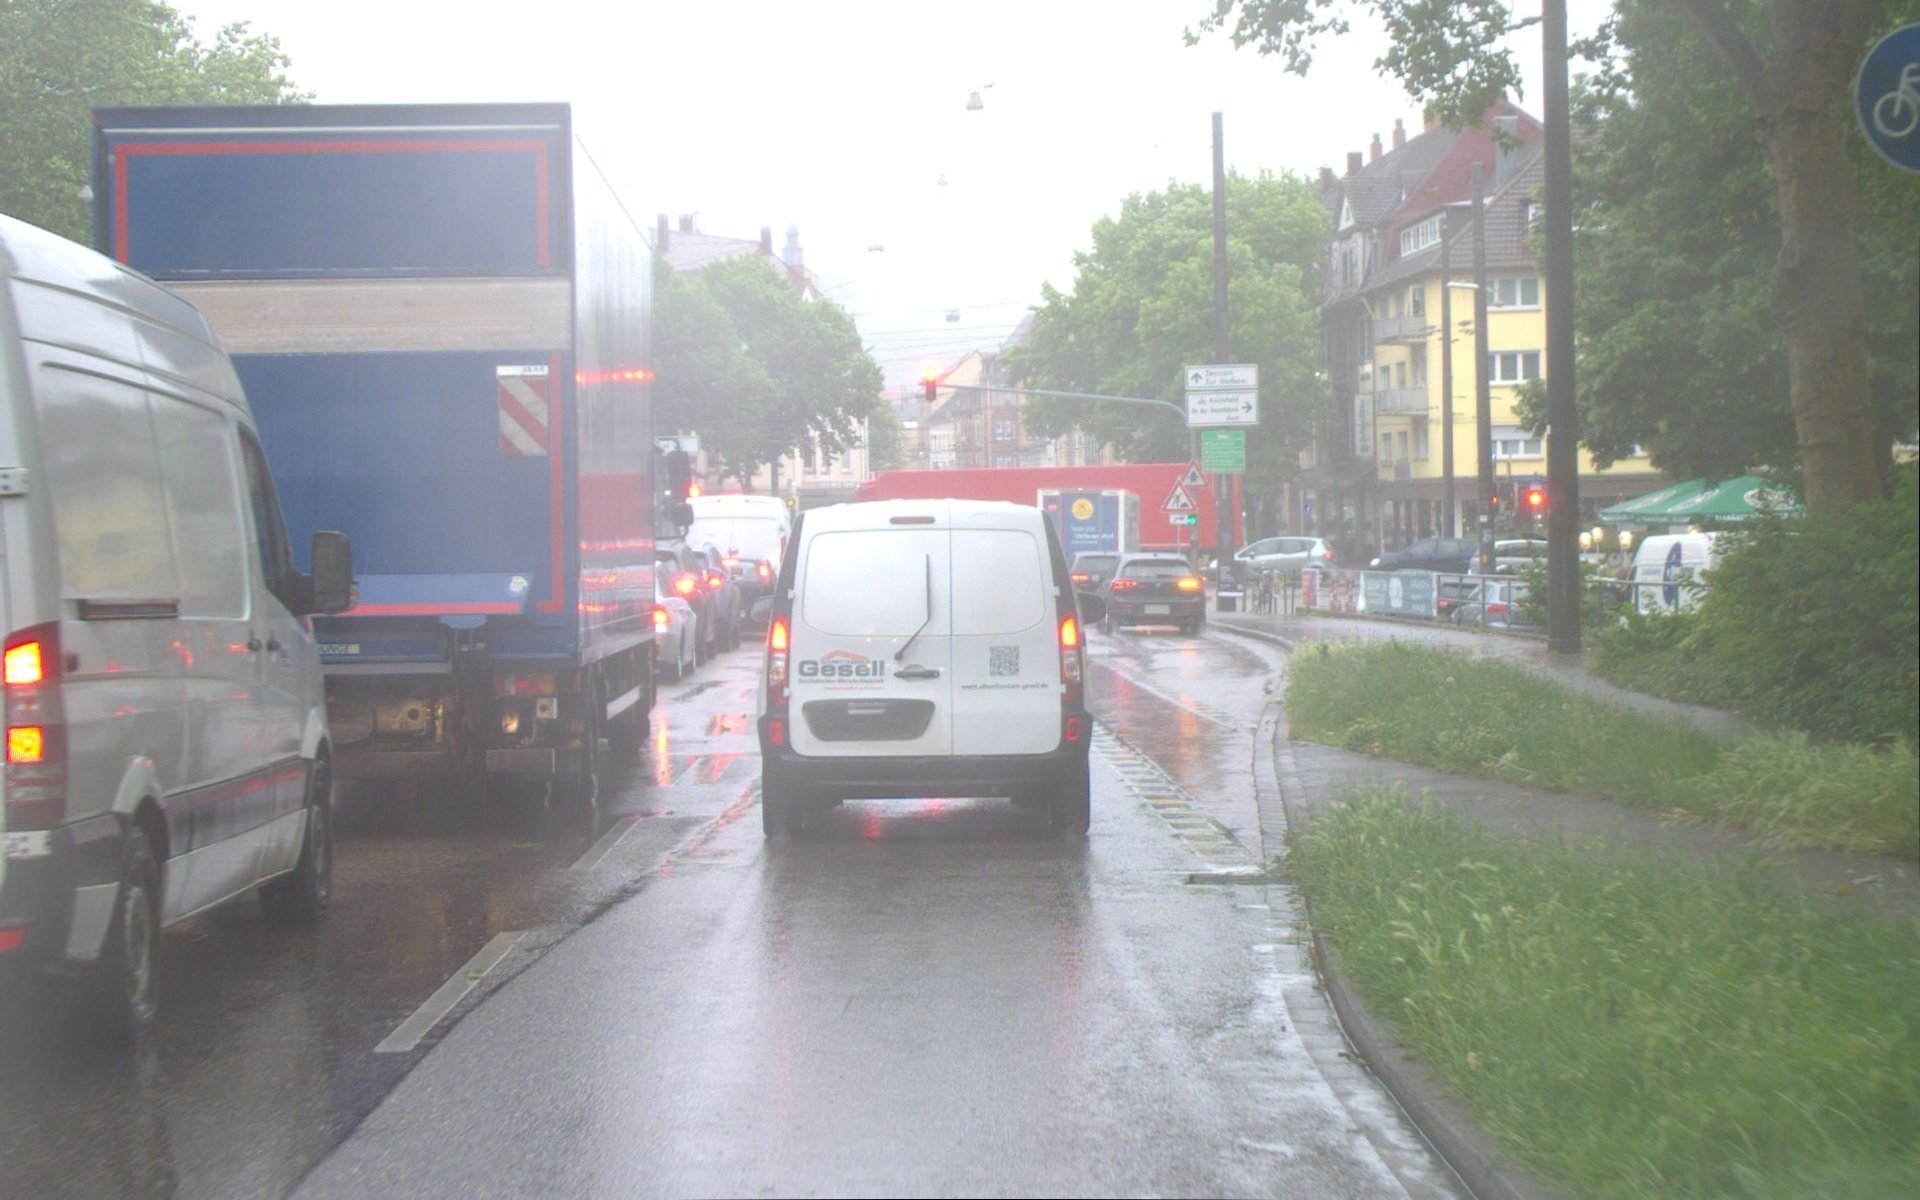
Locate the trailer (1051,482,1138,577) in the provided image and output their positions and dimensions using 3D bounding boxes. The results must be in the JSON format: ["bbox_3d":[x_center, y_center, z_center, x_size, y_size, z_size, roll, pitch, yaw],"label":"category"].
[{"bbox_3d":[3.438,-1.759,87.246,1.994,2.309,4.667,0,0,5],"label":"trailer"}]

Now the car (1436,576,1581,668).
[{"bbox_3d":[10.160,0.380,63.996,1.822,1.485,4.353,-2,2,-2],"label":"car"}]

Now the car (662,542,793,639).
[{"bbox_3d":[-3.942,-0.170,58.956,1.993,1.573,4.292,1,0,-1],"label":"car"}]

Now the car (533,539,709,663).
[{"bbox_3d":[-4.523,-0.010,46.460,1.993,1.573,4.292,1,0,-1],"label":"car"}]

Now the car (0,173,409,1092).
[{"bbox_3d":[-3.654,0.100,12.588,2.329,2.548,6.114,0,0,0],"label":"car"}]

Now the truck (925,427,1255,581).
[{"bbox_3d":[4.365,-3.229,117.936,11.388,4.883,3.282,-1,2,38],"label":"truck"}]

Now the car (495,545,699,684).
[{"bbox_3d":[-4.202,0.128,40.415,1.993,1.467,4.267,1,2,-1],"label":"car"}]

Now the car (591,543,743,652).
[{"bbox_3d":[-4.408,-0.057,52.243,1.993,1.573,4.292,1,0,-1],"label":"car"}]

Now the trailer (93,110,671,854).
[{"bbox_3d":[-3.340,-0.680,21.806,2.590,3.886,7.637,0,1,-2],"label":"trailer"}]

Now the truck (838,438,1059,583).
[{"bbox_3d":[-0.443,-3.151,121.759,7.173,4.883,3.282,-1,2,38],"label":"truck"}]

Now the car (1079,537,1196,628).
[{"bbox_3d":[3.167,-0.331,61.068,1.994,1.536,4.000,-1,1,3],"label":"car"}]

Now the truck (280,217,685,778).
[{"bbox_3d":[-3.476,-0.746,25.896,2.580,3.891,4.000,0,1,-2],"label":"truck"}]

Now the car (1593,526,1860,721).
[{"bbox_3d":[10.937,0.256,49.553,2.179,2.523,5.779,-2,2,-3],"label":"car"}]

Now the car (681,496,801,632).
[{"bbox_3d":[-4.072,-0.666,64.472,1.993,2.434,4.612,1,0,-1],"label":"car"}]

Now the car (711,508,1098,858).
[{"bbox_3d":[-0.305,0.423,19.259,1.959,1.771,3.570,0,0,-1],"label":"car"}]
